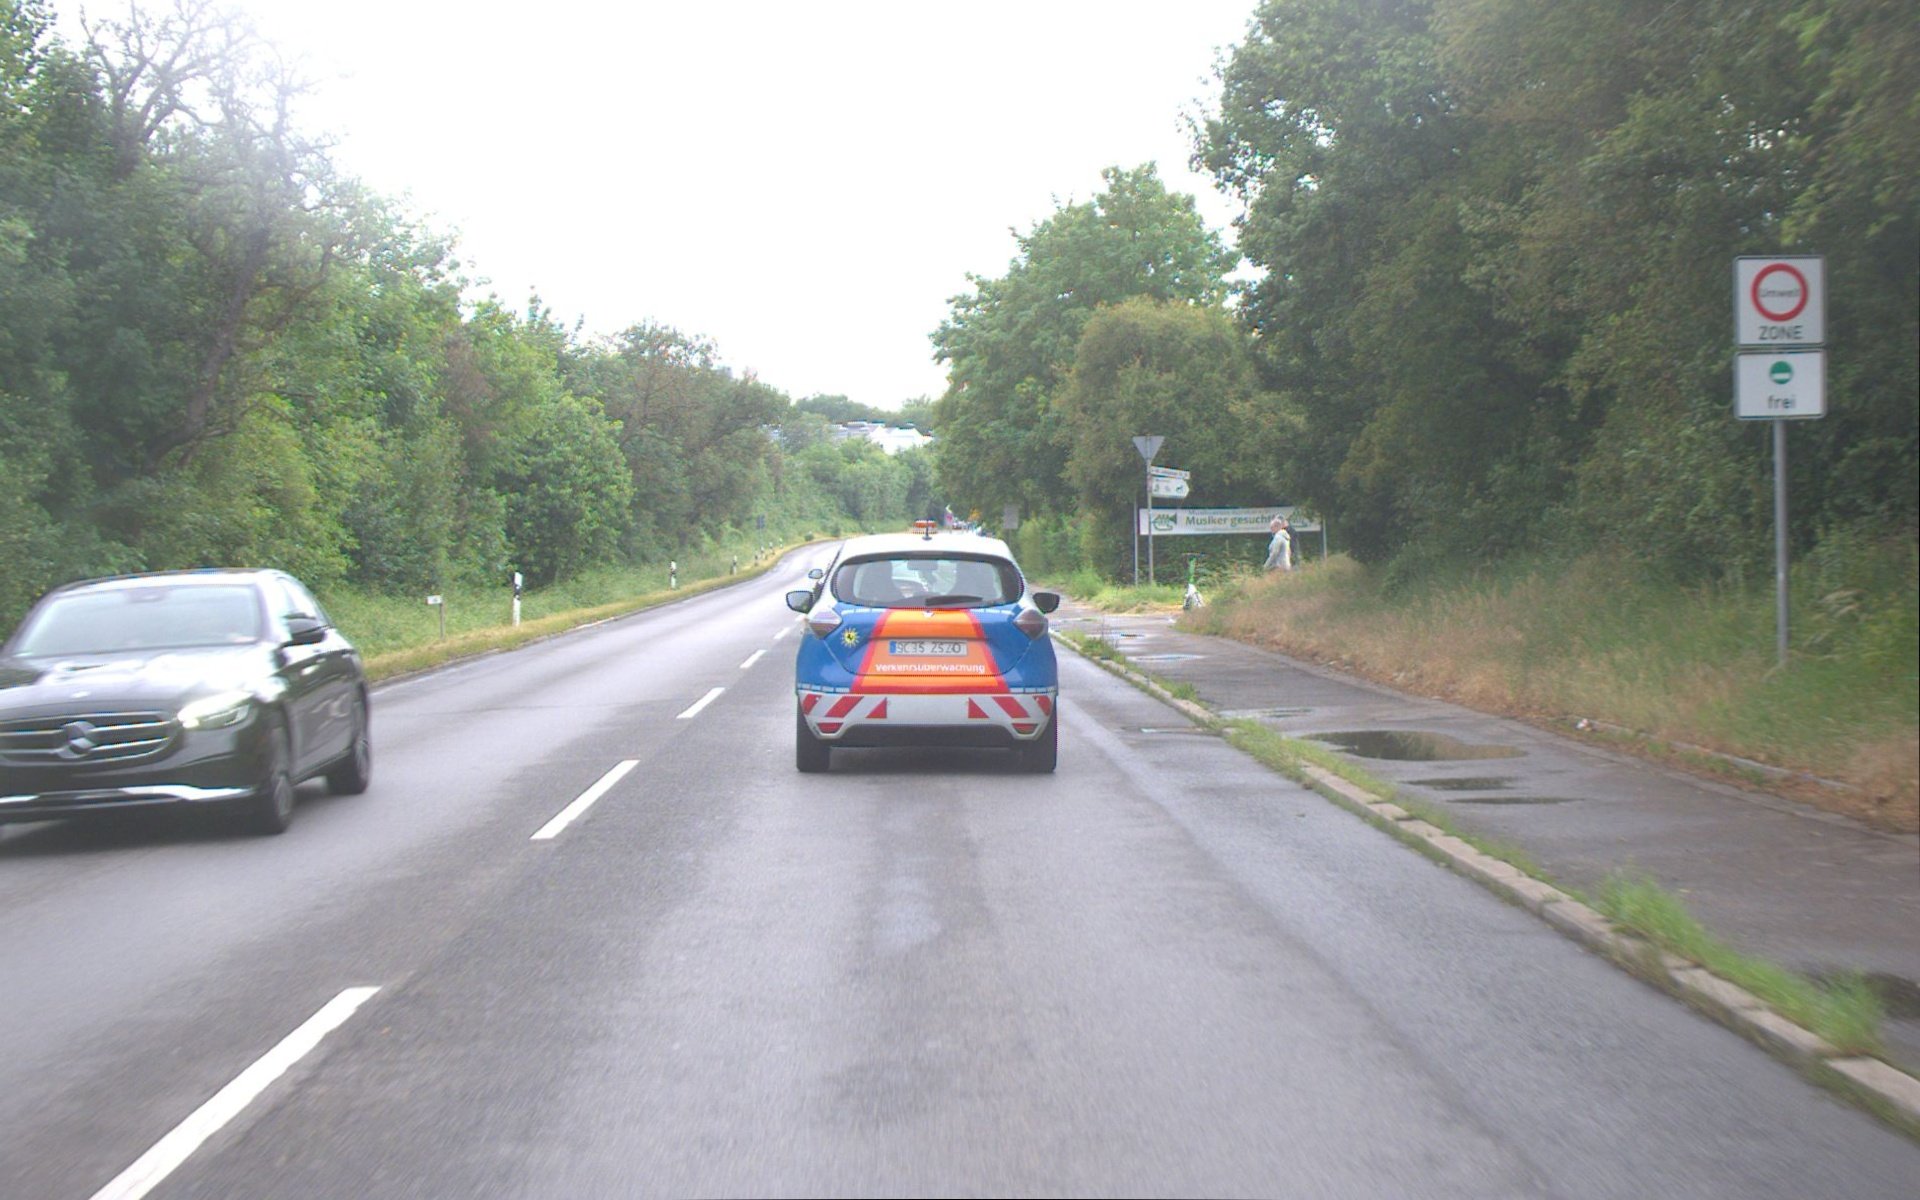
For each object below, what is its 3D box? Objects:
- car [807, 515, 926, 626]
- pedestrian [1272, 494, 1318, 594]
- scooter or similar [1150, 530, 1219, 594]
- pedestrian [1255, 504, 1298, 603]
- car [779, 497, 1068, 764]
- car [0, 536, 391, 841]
[{"bbox_3d":[-1.438,-0.461,51.759,1.694,1.590,3.856,1,1,-2],"label":"car"},{"bbox_3d":[6.158,-1.031,63.235,0.693,1.821,0.801,-2,1,-1],"label":"pedestrian"},{"bbox_3d":[4.285,-0.720,65.733,1.326,1.202,0.373,-1,1,40],"label":"scooter or similar"},{"bbox_3d":[5.745,-0.842,62.422,0.661,1.772,0.760,-2,1,-1],"label":"pedestrian"},{"bbox_3d":[-0.277,0.161,23.623,1.806,1.662,3.856,1,1,-1],"label":"car"},{"bbox_3d":[-4.625,0.438,20.031,1.871,1.484,4.574,-4,1,-1],"label":"car"}]
